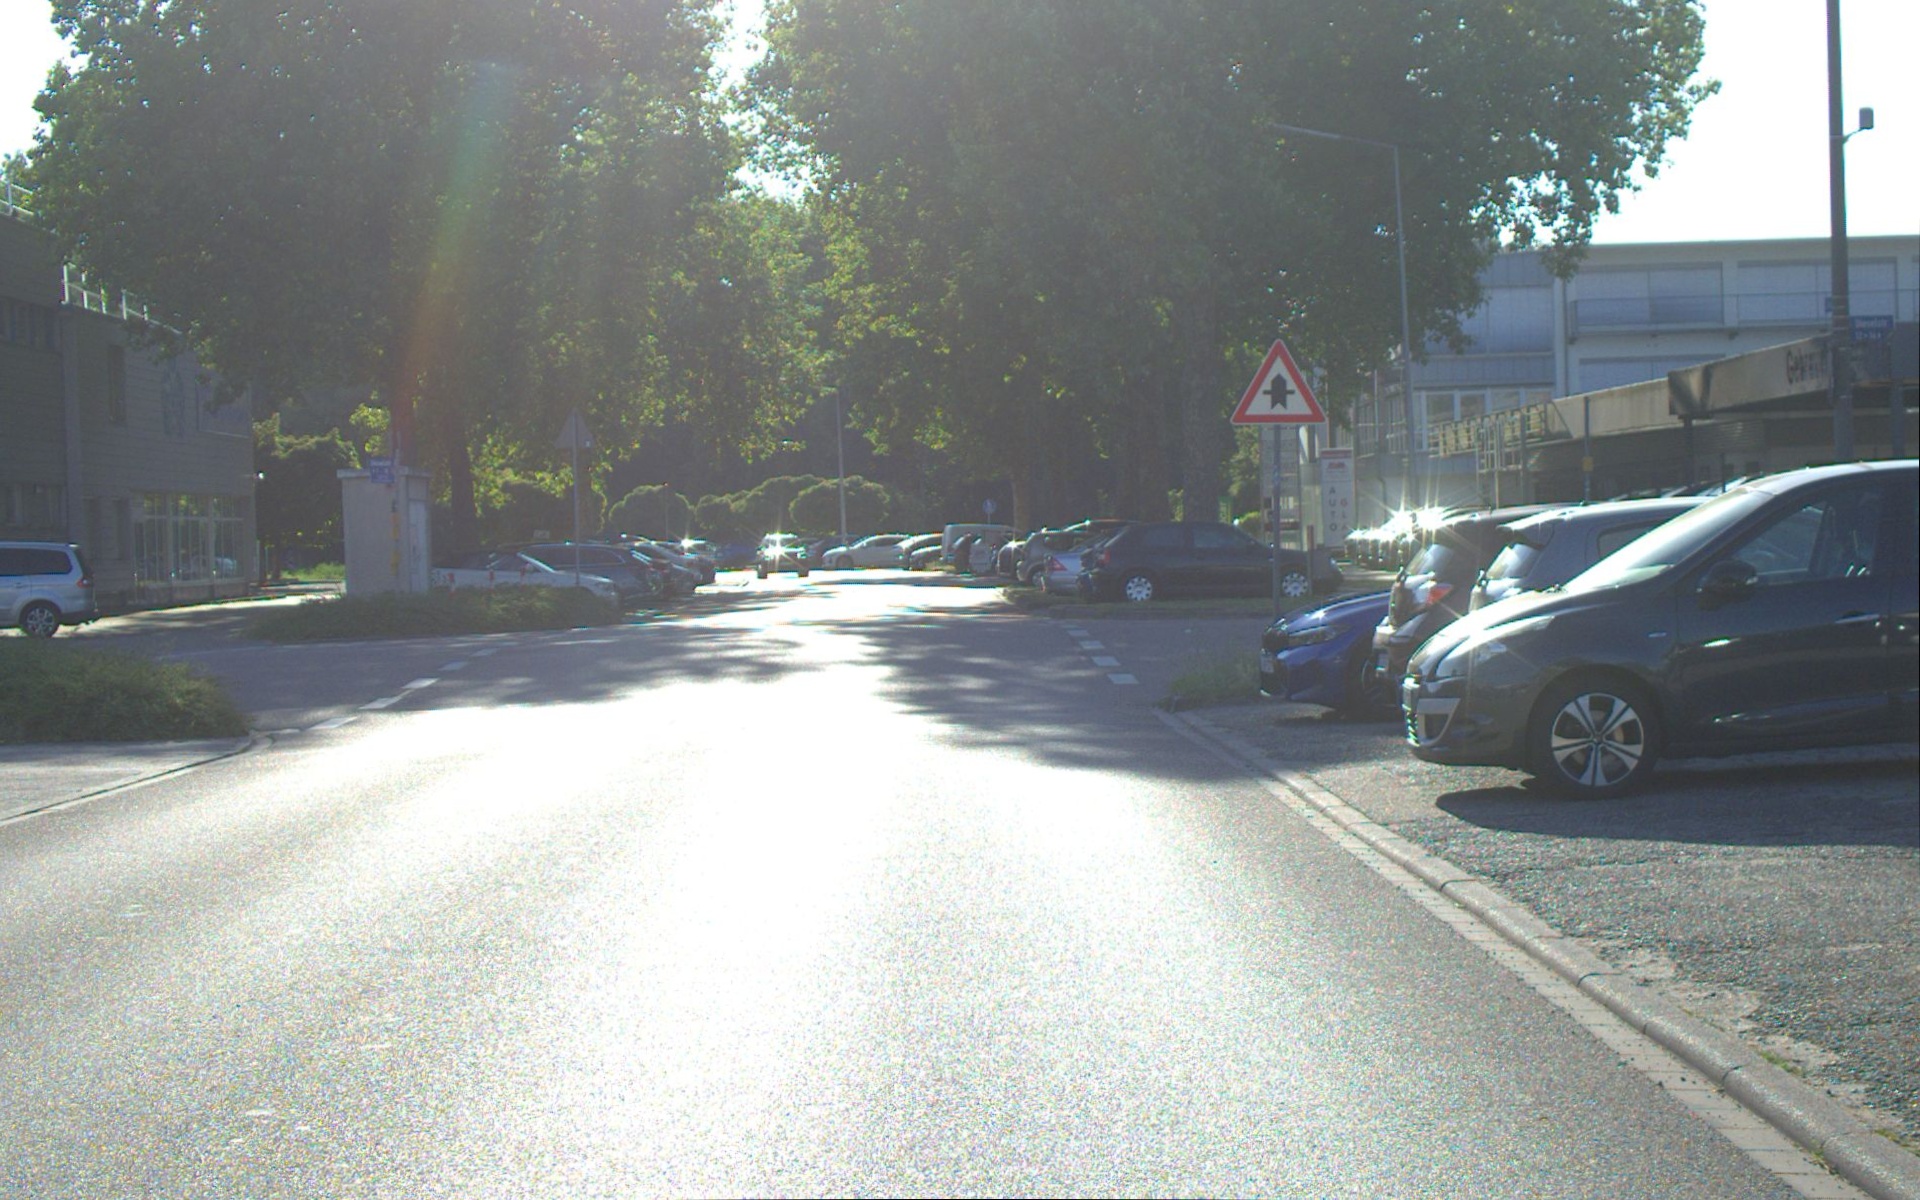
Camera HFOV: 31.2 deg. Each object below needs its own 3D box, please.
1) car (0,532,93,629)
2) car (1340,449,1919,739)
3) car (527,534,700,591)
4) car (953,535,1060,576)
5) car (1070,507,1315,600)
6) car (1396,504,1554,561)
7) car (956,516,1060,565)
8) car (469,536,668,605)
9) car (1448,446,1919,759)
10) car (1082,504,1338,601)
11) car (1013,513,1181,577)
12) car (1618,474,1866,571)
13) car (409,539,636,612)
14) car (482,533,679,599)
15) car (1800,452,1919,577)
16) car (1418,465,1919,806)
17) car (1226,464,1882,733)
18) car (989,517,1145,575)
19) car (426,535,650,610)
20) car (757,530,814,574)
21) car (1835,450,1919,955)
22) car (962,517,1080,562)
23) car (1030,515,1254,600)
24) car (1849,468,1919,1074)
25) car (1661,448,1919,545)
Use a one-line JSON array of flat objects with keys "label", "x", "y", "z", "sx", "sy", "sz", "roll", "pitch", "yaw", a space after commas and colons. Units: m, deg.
[{"label": "car", "x": -18.091, "y": -0.349, "z": 62.120, "sx": 4.628, "sy": 1.735, "sz": 2.001, "roll": -1, "pitch": 1, "yaw": -16}, {"label": "car", "x": 4.785, "y": -0.071, "z": 23.645, "sx": 3.987, "sy": 1.646, "sz": 1.743, "roll": -4, "pitch": 1, "yaw": -3}, {"label": "car", "x": -9.277, "y": -1.013, "z": 92.341, "sx": 4.415, "sy": 1.511, "sz": 2.000, "roll": 0, "pitch": 1, "yaw": 1}, {"label": "car", "x": 1.769, "y": -1.699, "z": 131.543, "sx": 3.987, "sy": 1.411, "sz": 1.827, "roll": -2, "pitch": 1, "yaw": -1}, {"label": "car", "x": 3.944, "y": -0.796, "z": 58.789, "sx": 3.987, "sy": 1.411, "sz": 2.000, "roll": -2, "pitch": 1, "yaw": -1}, {"label": "car", "x": 14.070, "y": -1.844, "z": 94.112, "sx": 3.986, "sy": 1.541, "sz": 2.000, "roll": 0, "pitch": 1, "yaw": -2}, {"label": "car", "x": 1.885, "y": -2.326, "z": 135.340, "sx": 3.987, "sy": 1.770, "sz": 1.827, "roll": -2, "pitch": 1, "yaw": -1}, {"label": "car", "x": -8.883, "y": -0.687, "z": 78.254, "sx": 4.415, "sy": 1.511, "sz": 2.000, "roll": 0, "pitch": 1, "yaw": -4}, {"label": "car", "x": 5.213, "y": -0.061, "z": 21.331, "sx": 3.987, "sy": 1.646, "sz": 1.801, "roll": -5, "pitch": 1, "yaw": 0}, {"label": "car", "x": 4.074, "y": -0.784, "z": 56.500, "sx": 3.987, "sy": 1.411, "sz": 2.000, "roll": -2, "pitch": 1, "yaw": -1}, {"label": "car", "x": 3.350, "y": -1.349, "z": 84.716, "sx": 3.987, "sy": 1.411, "sz": 1.827, "roll": -2, "pitch": 1, "yaw": -1}, {"label": "car", "x": 14.112, "y": -1.401, "z": 62.178, "sx": 3.986, "sy": 1.694, "sz": 2.000, "roll": 0, "pitch": 1, "yaw": -2}, {"label": "car", "x": -8.709, "y": -0.498, "z": 68.676, "sx": 4.414, "sy": 1.398, "sz": 2.000, "roll": 0, "pitch": 1, "yaw": -6}, {"label": "car", "x": -8.948, "y": -0.820, "z": 81.390, "sx": 4.415, "sy": 1.511, "sz": 2.000, "roll": 0, "pitch": 1, "yaw": 1}, {"label": "car", "x": 14.786, "y": -1.271, "z": 52.764, "sx": 1.938, "sy": 1.764, "sz": 3.990, "roll": -3, "pitch": -2, "yaw": 43}, {"label": "car", "x": 4.520, "y": 0.132, "z": 18.394, "sx": 3.988, "sy": 1.607, "sz": 2.000, "roll": -3, "pitch": 1, "yaw": 7}, {"label": "car", "x": 4.437, "y": -0.028, "z": 26.072, "sx": 4.523, "sy": 1.667, "sz": 1.754, "roll": -4, "pitch": 1, "yaw": -4}, {"label": "car", "x": 2.805, "y": -1.430, "z": 90.692, "sx": 3.987, "sy": 1.376, "sz": 1.827, "roll": -2, "pitch": 1, "yaw": -1}, {"label": "car", "x": -8.691, "y": -0.582, "z": 71.109, "sx": 4.415, "sy": 1.511, "sz": 2.000, "roll": 0, "pitch": 1, "yaw": -2}, {"label": "car", "x": -6.591, "y": -1.821, "z": 130.414, "sx": 1.993, "sy": 1.603, "sz": 4.000, "roll": 1, "pitch": 1, "yaw": -1}, {"label": "car", "x": 5.164, "y": 0.209, "z": 10.777, "sx": 4.248, "sy": 1.617, "sz": 1.921, "roll": -3, "pitch": 1, "yaw": -1}, {"label": "car", "x": 2.111, "y": -2.103, "z": 119.301, "sx": 3.987, "sy": 1.411, "sz": 1.827, "roll": -2, "pitch": 1, "yaw": -1}, {"label": "car", "x": 3.354, "y": -0.800, "z": 63.839, "sx": 3.987, "sy": 1.411, "sz": 1.827, "roll": -2, "pitch": 1, "yaw": -1}, {"label": "car", "x": 4.785, "y": 0.286, "z": 8.288, "sx": 4.554, "sy": 1.592, "sz": 2.202, "roll": -5, "pitch": 1, "yaw": -3}, {"label": "car", "x": 14.318, "y": -1.778, "z": 59.353, "sx": 3.986, "sy": 1.629, "sz": 2.000, "roll": 0, "pitch": 1, "yaw": -2}]
